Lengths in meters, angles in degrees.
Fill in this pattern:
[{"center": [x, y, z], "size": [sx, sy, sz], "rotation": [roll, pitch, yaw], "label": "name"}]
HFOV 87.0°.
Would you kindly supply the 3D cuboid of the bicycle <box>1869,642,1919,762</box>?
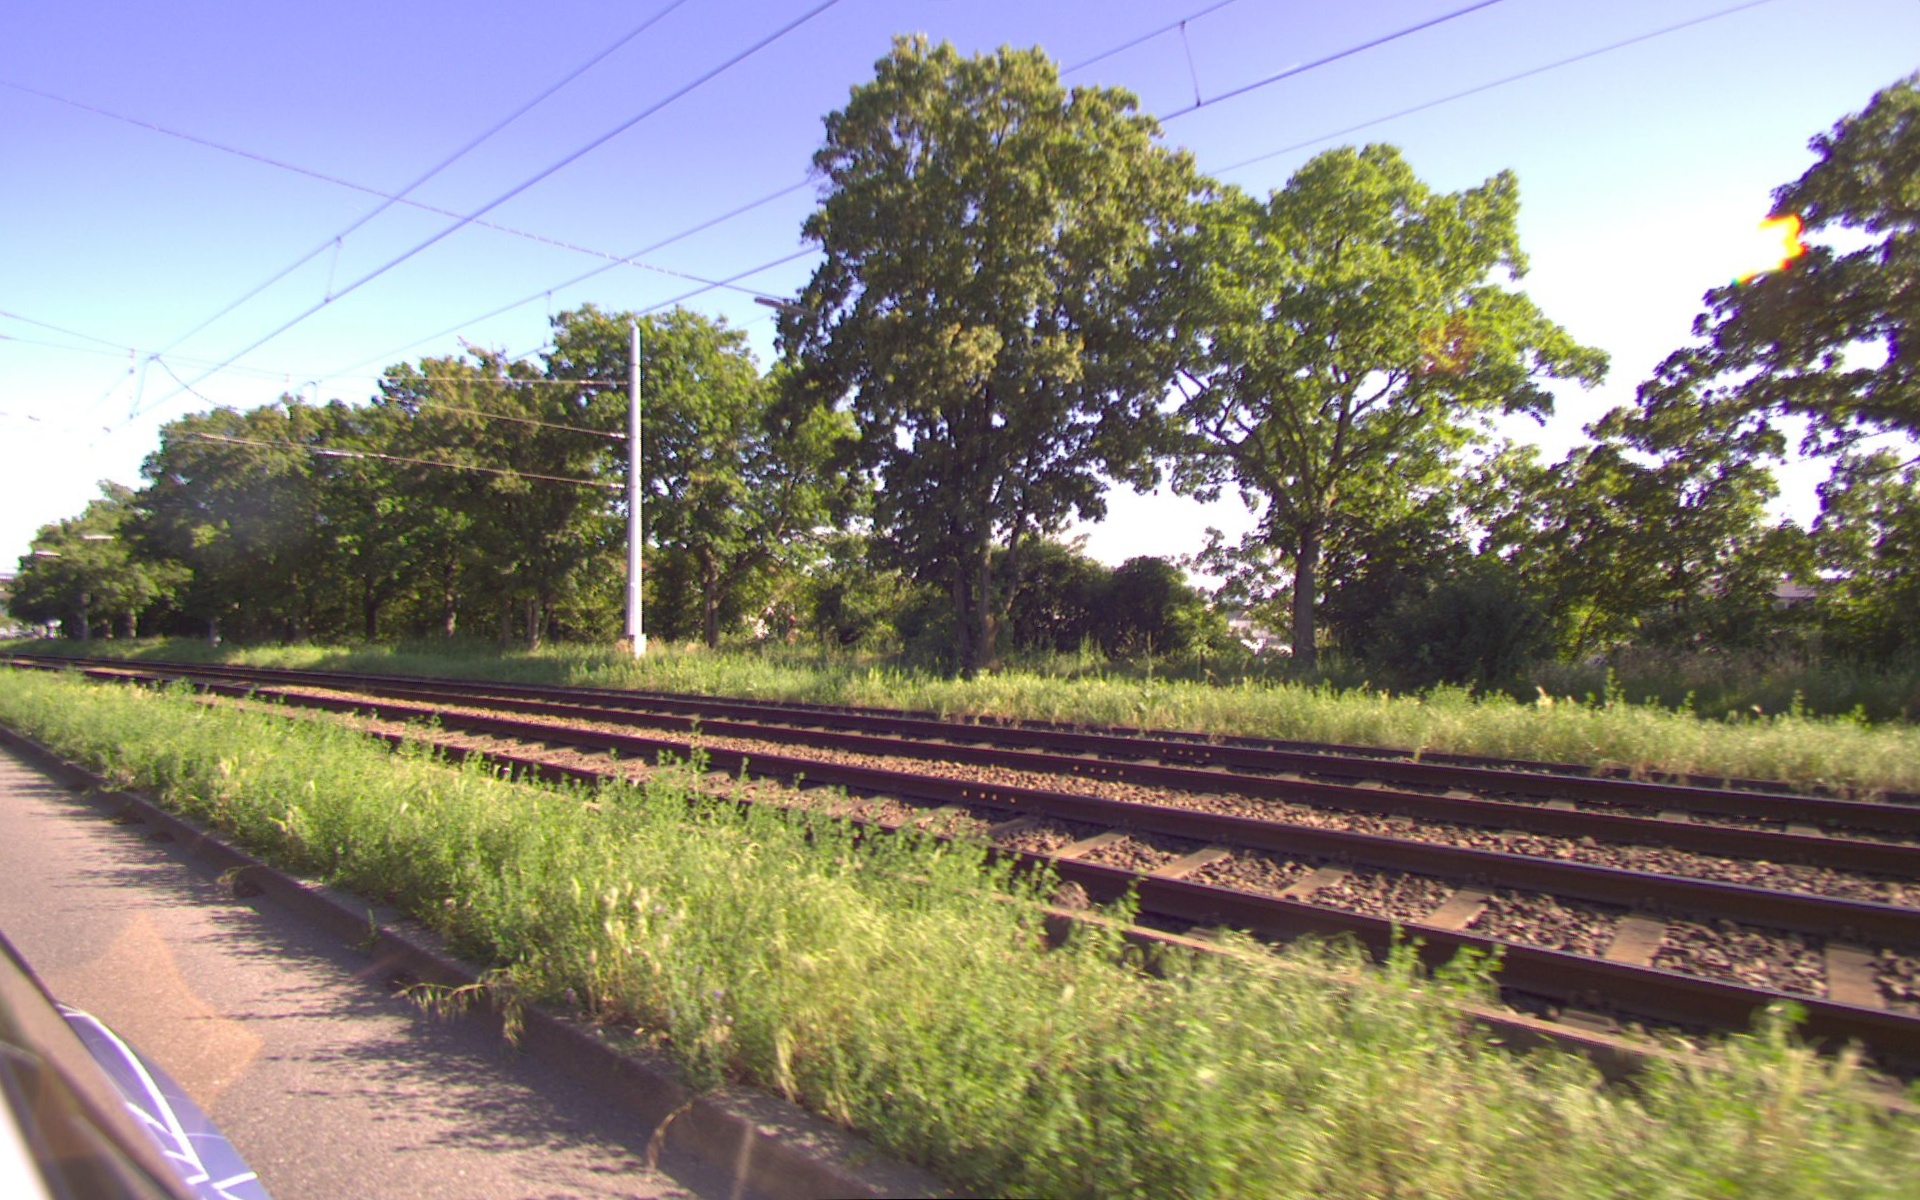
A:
[{"center": [11.171, 1.090, 10.587], "size": [2.426, 1.271, 0.583], "rotation": [-2, 0, 42], "label": "bicycle"}]
